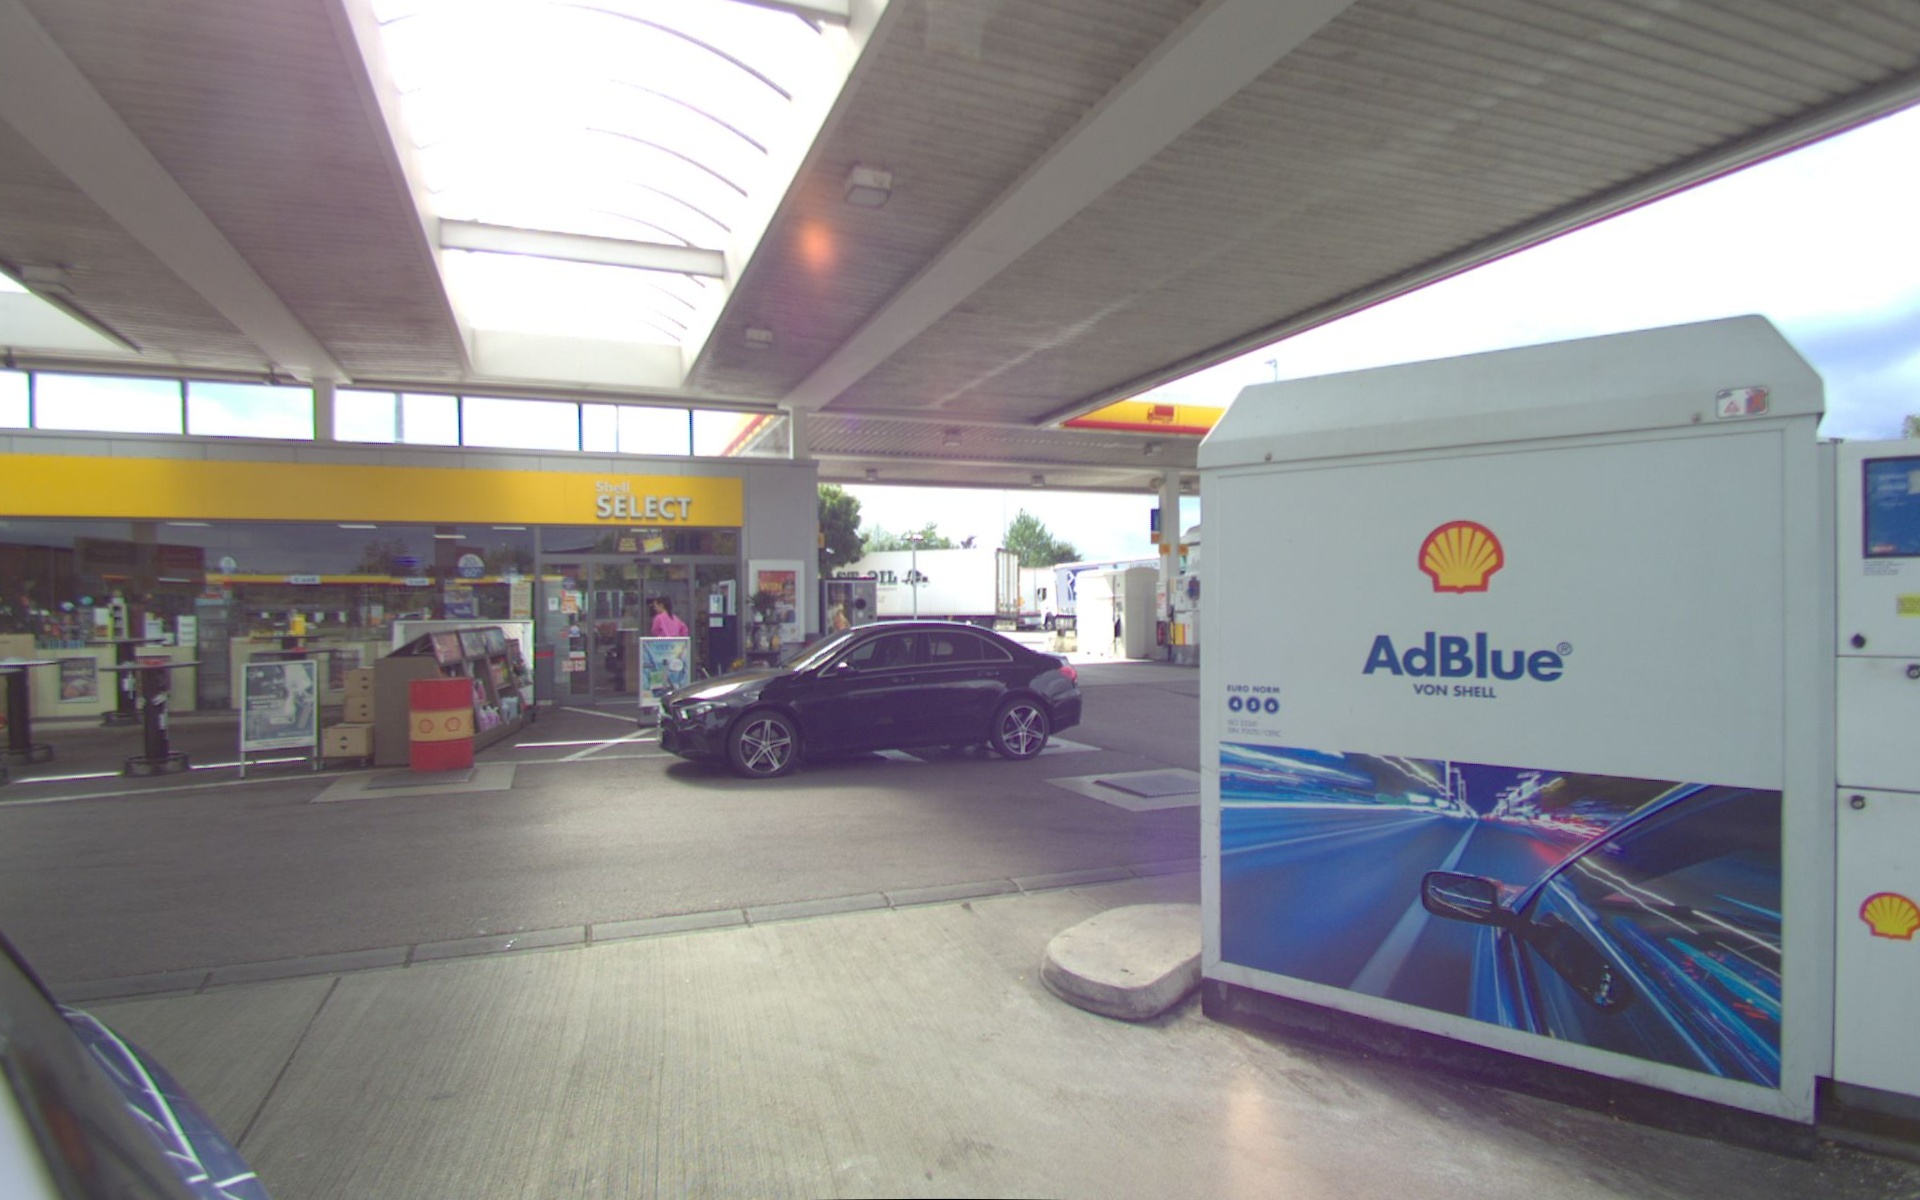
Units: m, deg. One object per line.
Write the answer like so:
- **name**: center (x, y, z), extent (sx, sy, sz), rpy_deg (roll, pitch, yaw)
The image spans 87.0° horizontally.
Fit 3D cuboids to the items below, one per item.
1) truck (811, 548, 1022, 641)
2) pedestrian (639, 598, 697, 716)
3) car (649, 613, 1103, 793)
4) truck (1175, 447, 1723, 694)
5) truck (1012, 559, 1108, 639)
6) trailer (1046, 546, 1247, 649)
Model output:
- **truck**: center (-2.101, -0.194, 46.847), extent (9.536, 4.036, 2.772), rpy_deg (-1, 0, 25)
- **pedestrian**: center (-4.423, 0.836, 15.311), extent (0.618, 1.726, 0.623), rpy_deg (-1, 0, -42)
- **car**: center (-0.887, 0.935, 10.609), extent (4.394, 1.511, 1.785), rpy_deg (-1, 0, -21)
- **truck**: center (9.659, -0.474, 23.110), extent (2.491, 4.069, 12.947), rpy_deg (-1, 0, -22)
- **truck**: center (5.929, -0.065, 61.229), extent (3.333, 4.538, 6.249), rpy_deg (-1, 0, -20)
- **trailer**: center (9.106, -0.114, 52.681), extent (3.294, 4.600, 14.397), rpy_deg (-1, 0, -20)
